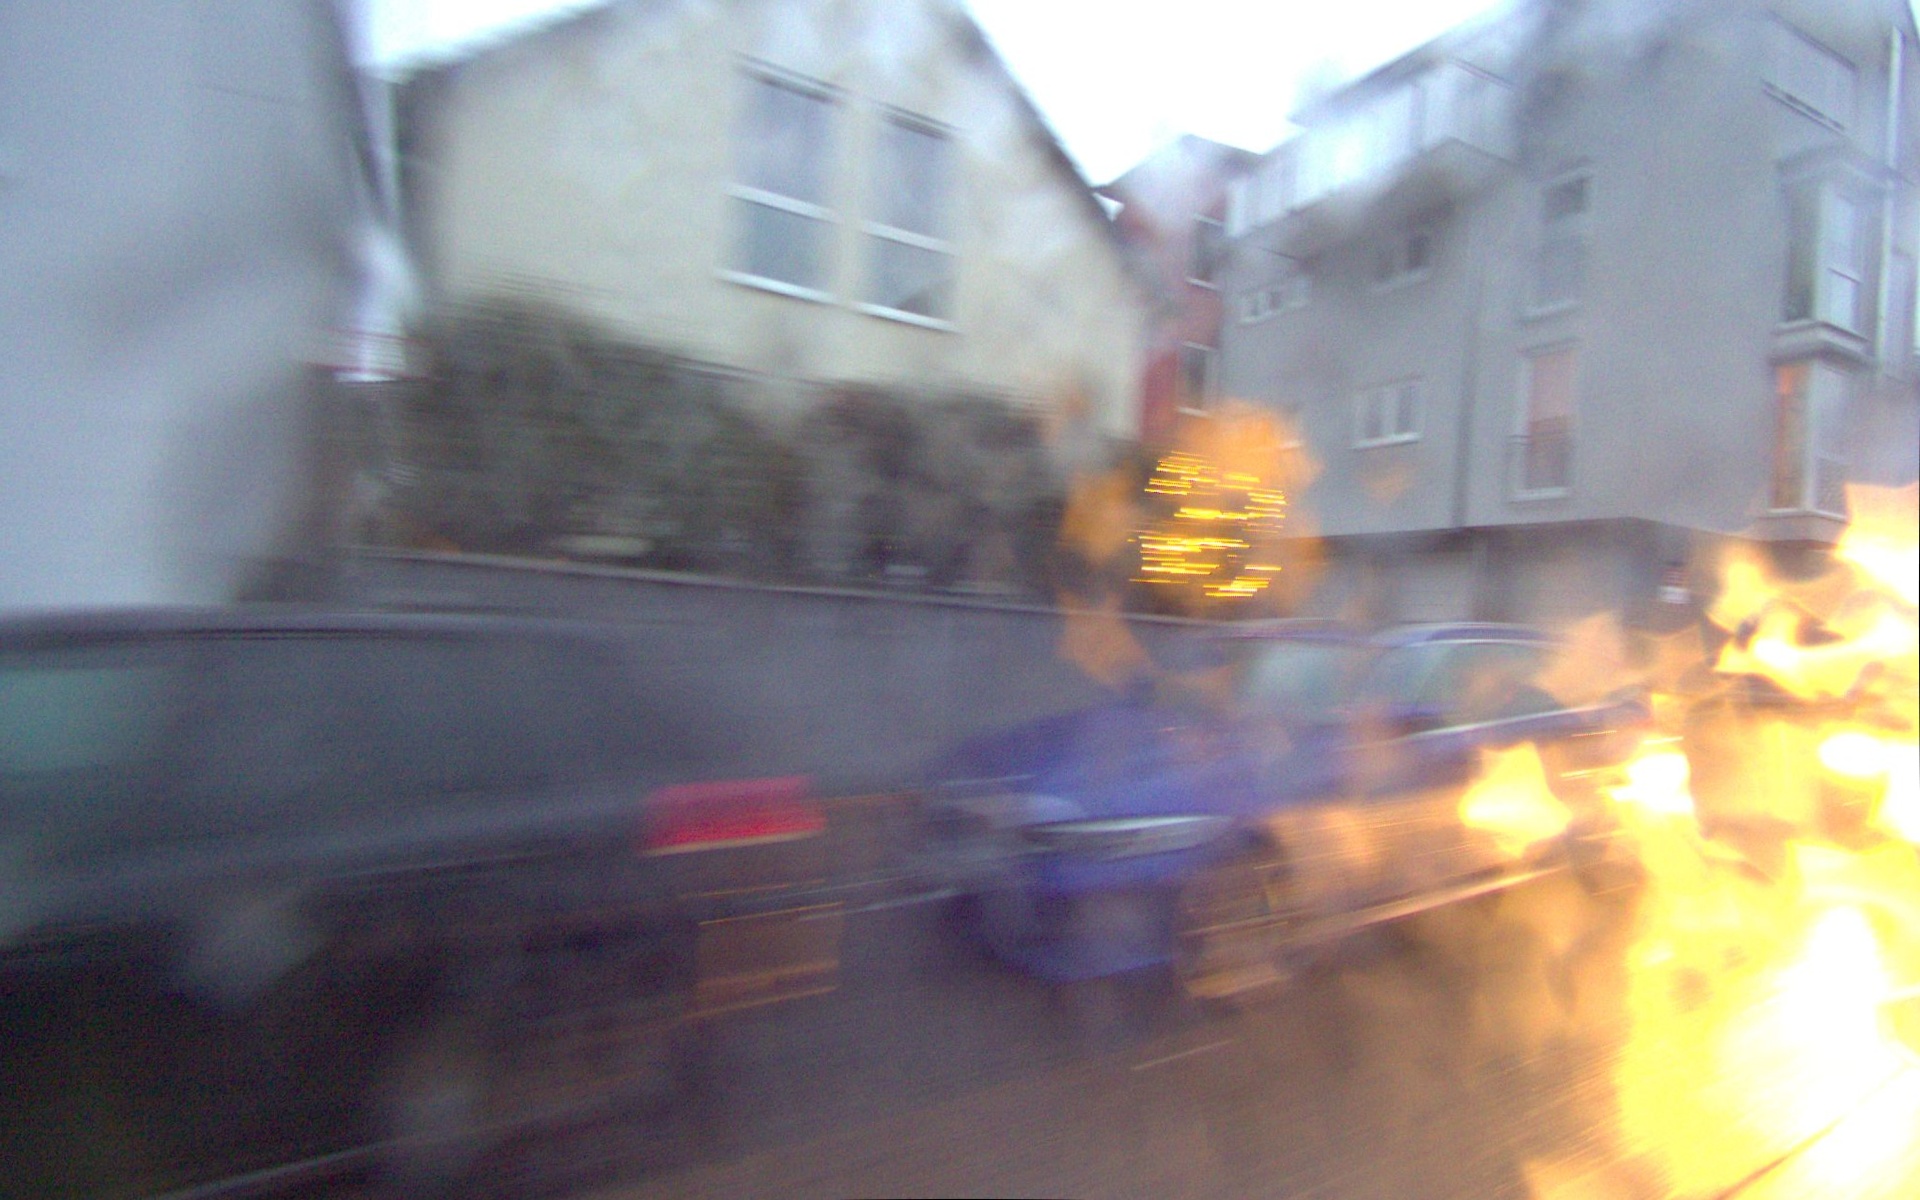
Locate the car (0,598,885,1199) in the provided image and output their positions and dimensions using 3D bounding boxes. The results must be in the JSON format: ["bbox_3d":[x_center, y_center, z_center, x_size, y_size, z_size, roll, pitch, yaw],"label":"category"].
[{"bbox_3d":[-2.350,0.730,2.515,3.991,1.455,1.724,1,-1,-33],"label":"car"}]

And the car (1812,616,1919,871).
[{"bbox_3d":[7.643,0.898,7.057,4.342,1.515,1.759,2,-1,-39],"label":"car"}]

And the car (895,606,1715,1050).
[{"bbox_3d":[1.998,0.810,5.272,4.391,1.463,1.724,1,0,-33],"label":"car"}]
